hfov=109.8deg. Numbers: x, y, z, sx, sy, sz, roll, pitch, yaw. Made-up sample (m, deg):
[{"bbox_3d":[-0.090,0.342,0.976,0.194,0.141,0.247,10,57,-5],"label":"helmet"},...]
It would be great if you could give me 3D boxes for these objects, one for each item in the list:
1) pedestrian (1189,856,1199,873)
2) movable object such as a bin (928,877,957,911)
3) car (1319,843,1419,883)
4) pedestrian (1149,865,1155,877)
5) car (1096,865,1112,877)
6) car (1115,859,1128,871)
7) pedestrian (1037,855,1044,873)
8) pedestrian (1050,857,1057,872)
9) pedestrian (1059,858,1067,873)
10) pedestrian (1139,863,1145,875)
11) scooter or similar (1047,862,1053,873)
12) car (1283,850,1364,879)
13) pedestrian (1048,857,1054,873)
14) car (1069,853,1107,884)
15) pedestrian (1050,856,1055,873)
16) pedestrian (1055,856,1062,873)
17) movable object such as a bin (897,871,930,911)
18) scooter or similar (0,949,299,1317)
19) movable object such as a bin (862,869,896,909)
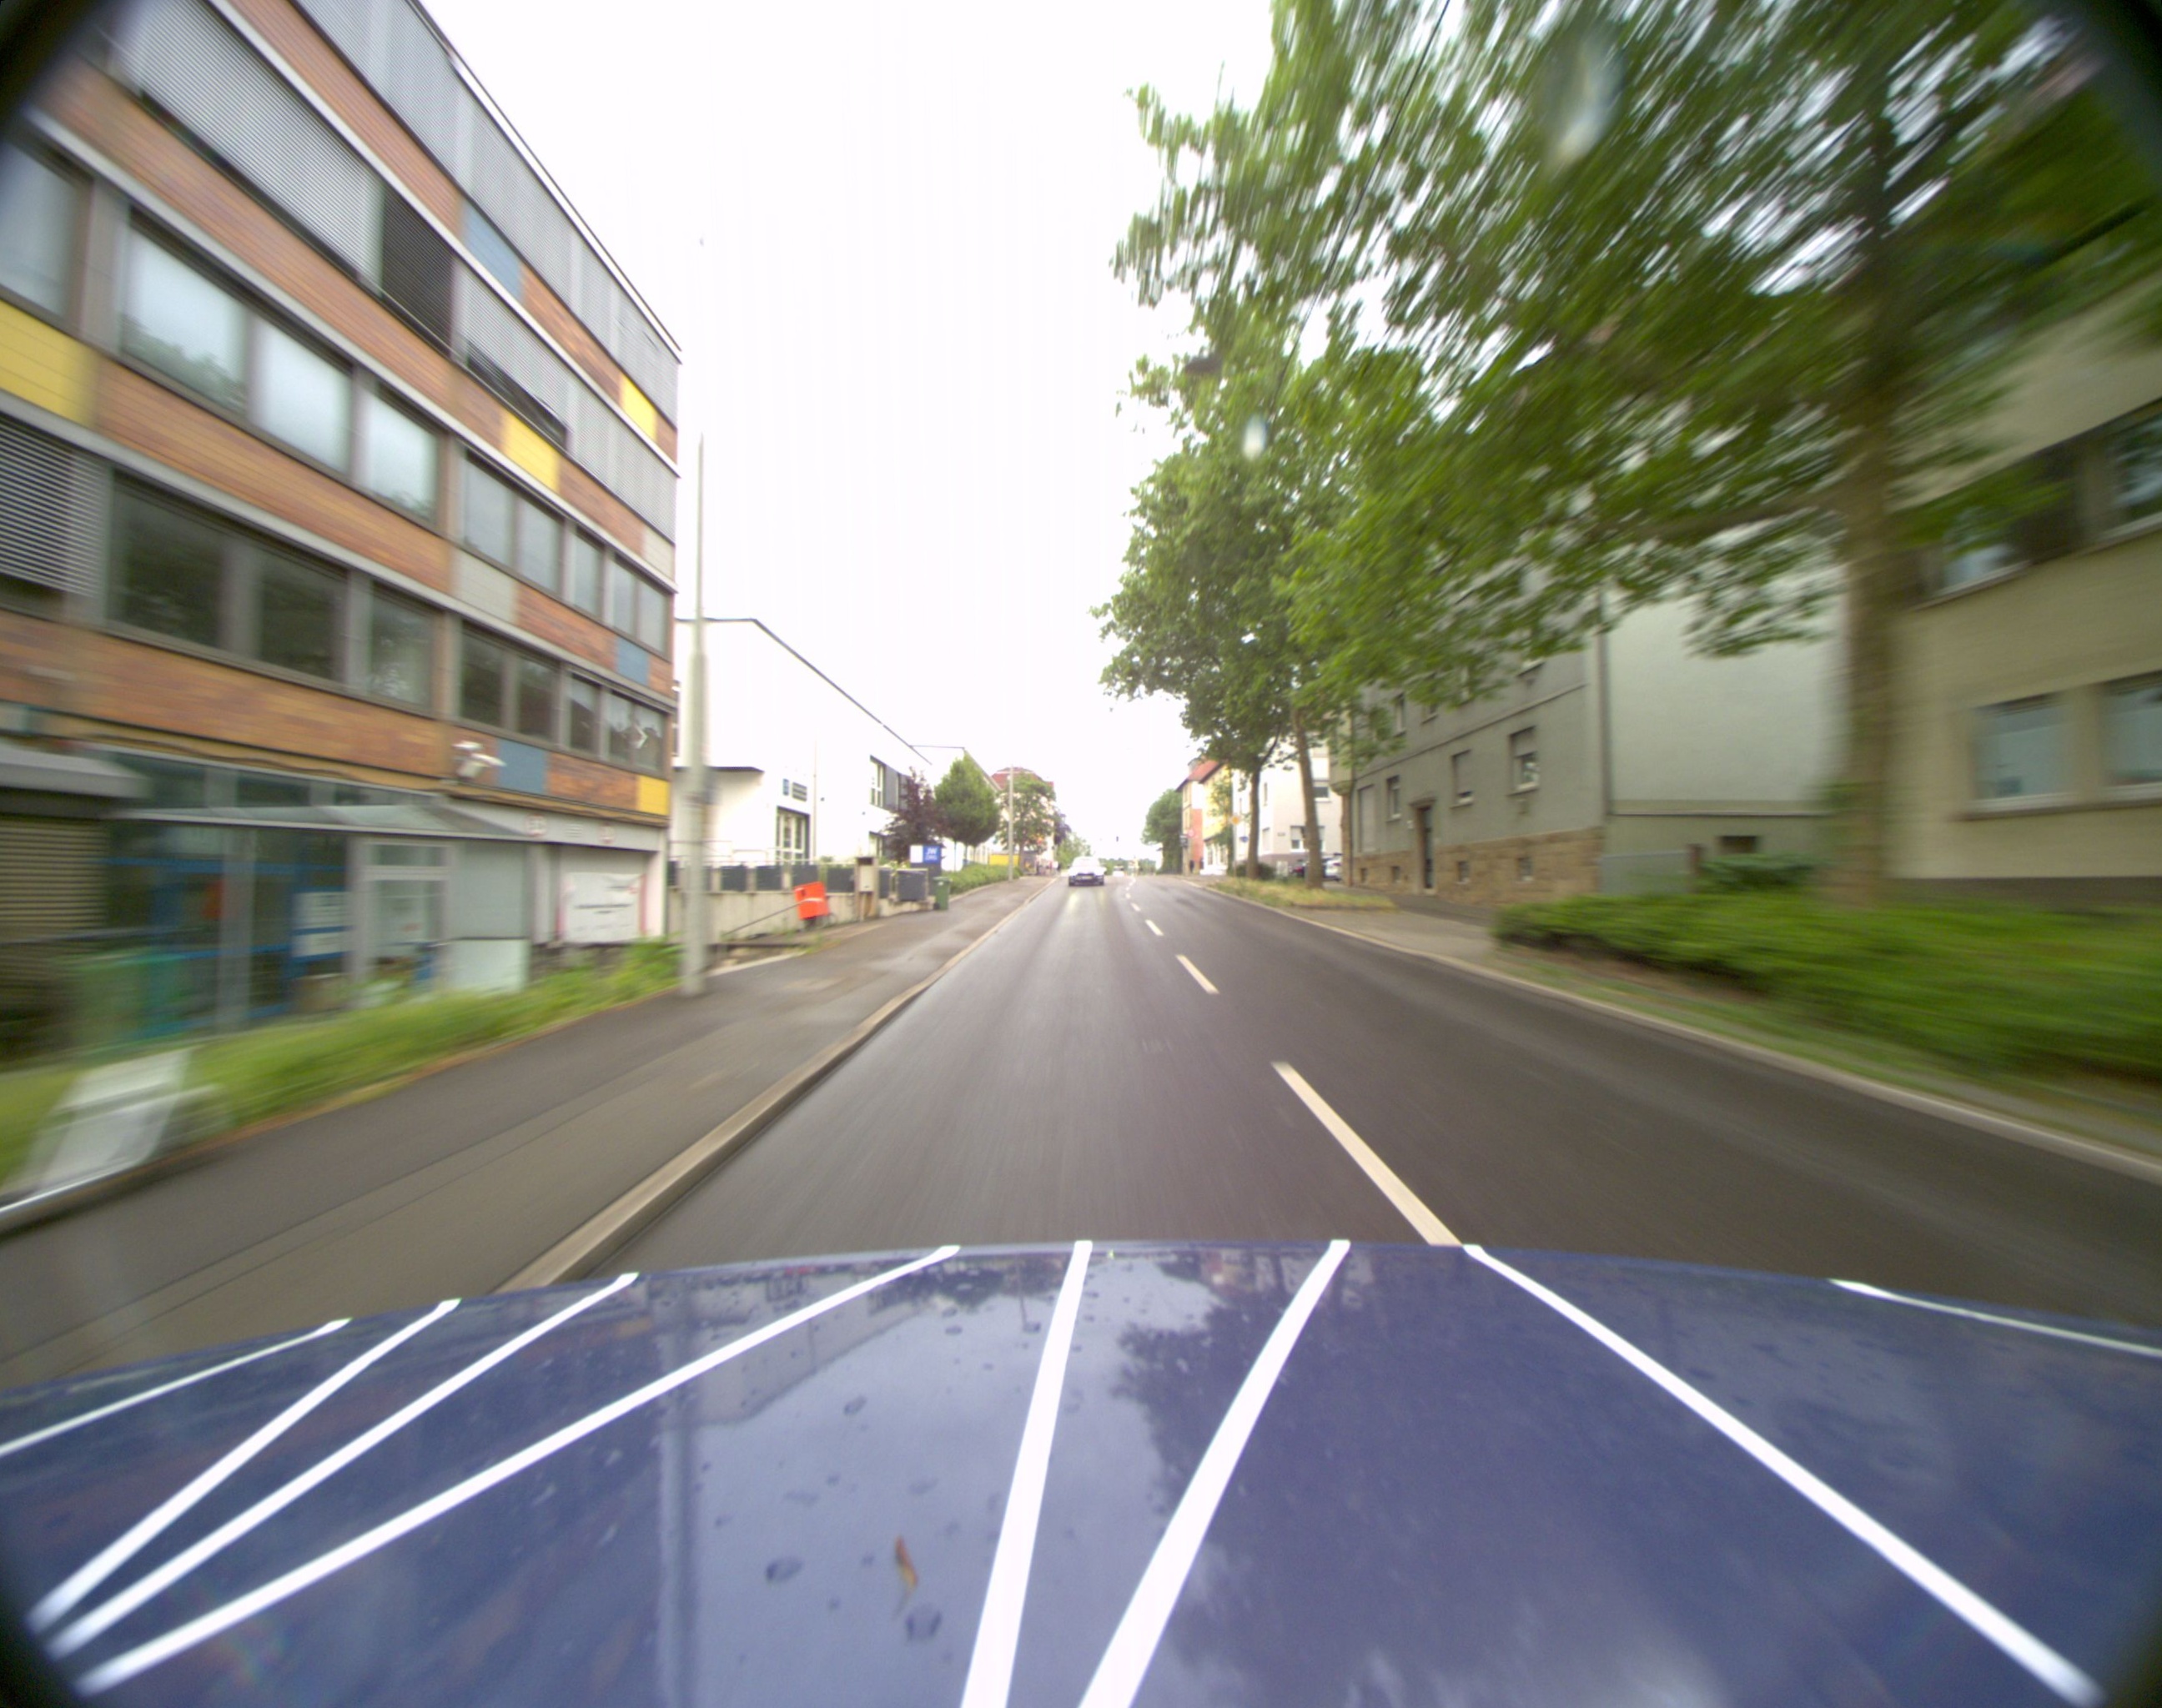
[{"bbox_3d":[11.300,1.087,75.948,0.817,1.669,0.993,-2,0,-1],"label":"pedestrian"},{"bbox_3d":[-3.962,1.134,21.771,0.621,0.931,0.686,2,0,2],"label":"movable object such as a bin"},{"bbox_3d":[14.544,0.451,38.557,4.192,1.694,2.000,-4,-1,1],"label":"car"},{"bbox_3d":[11.482,2.718,122.846,0.808,1.810,1.117,-1,-3,1],"label":"pedestrian"},{"bbox_3d":[2.696,1.984,89.472,1.837,1.429,4.001,0,0,3],"label":"car"},{"bbox_3d":[6.471,1.812,122.424,1.886,1.858,4.454,-1,0,1],"label":"car"},{"bbox_3d":[-4.052,0.982,75.922,0.648,1.820,0.741,1,-1,-4],"label":"pedestrian"},{"bbox_3d":[-3.088,1.178,85.480,0.446,1.697,0.559,1,-1,39],"label":"pedestrian"},{"bbox_3d":[-2.039,1.345,86.391,0.637,1.700,0.747,3,-1,-32],"label":"pedestrian"},{"bbox_3d":[9.993,2.490,124.017,0.864,1.870,1.044,0,-3,0],"label":"pedestrian"},{"bbox_3d":[-3.344,1.455,81.908,0.619,1.133,0.567,1,-1,-4],"label":"scooter or similar"},{"bbox_3d":[14.024,0.621,44.069,3.997,1.389,2.000,-4,-1,0],"label":"car"},{"bbox_3d":[-3.283,1.184,82.556,0.662,1.731,0.829,1,-1,-4],"label":"pedestrian"},{"bbox_3d":[0.398,0.789,39.091,1.837,1.429,4.003,-1,-3,2],"label":"car"},{"bbox_3d":[-3.180,1.180,84.728,0.460,1.829,0.604,2,-1,-4],"label":"pedestrian"},{"bbox_3d":[-2.535,1.155,85.915,0.634,1.864,0.487,3,-1,-35],"label":"pedestrian"},{"bbox_3d":[-4.752,1.050,21.629,0.696,1.076,0.779,2,0,2],"label":"movable object such as a bin"},{"bbox_3d":[-4.104,1.044,2.868,0.607,1.155,1.699,0,0,-3],"label":"scooter or similar"},{"bbox_3d":[-5.733,0.992,21.598,0.696,1.076,0.779,2,0,2],"label":"movable object such as a bin"}]
